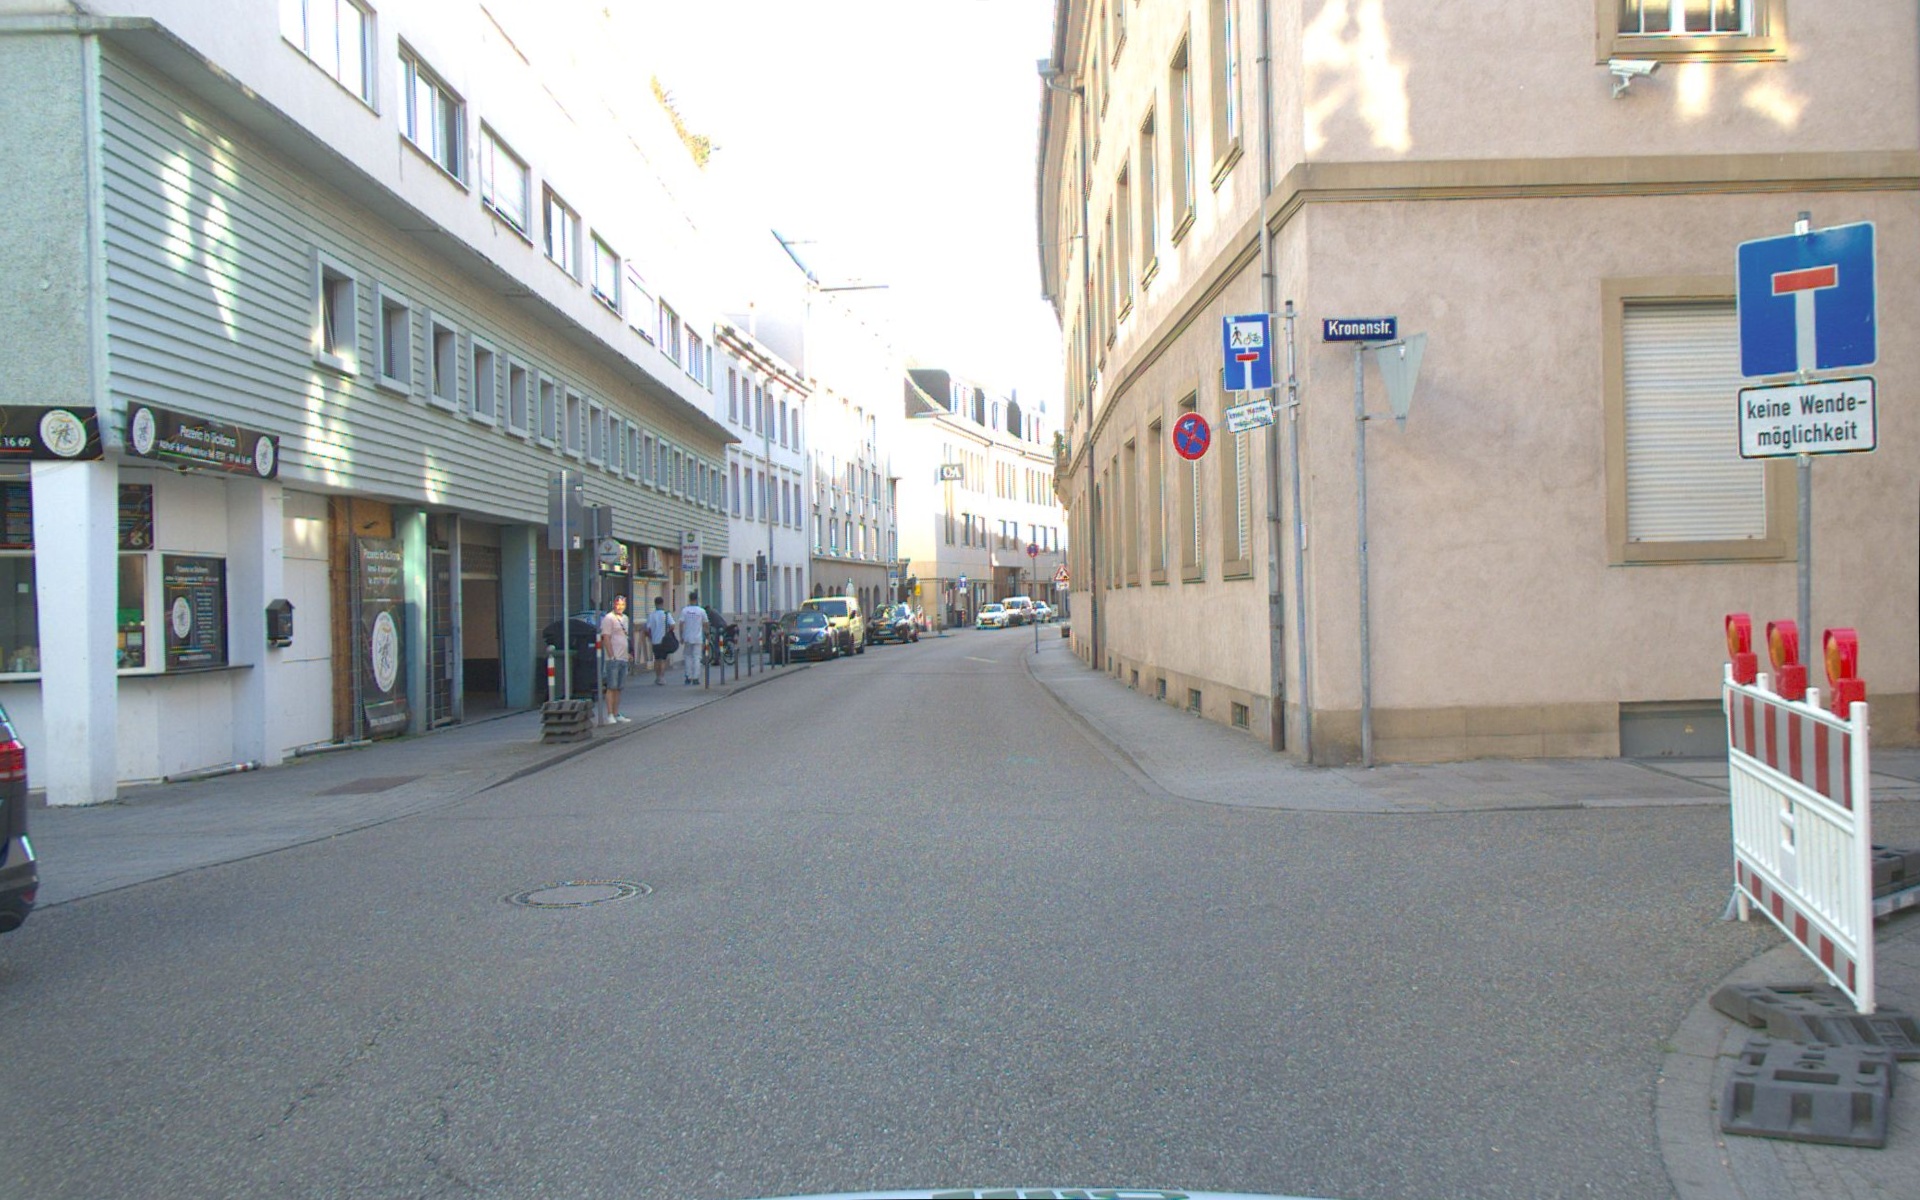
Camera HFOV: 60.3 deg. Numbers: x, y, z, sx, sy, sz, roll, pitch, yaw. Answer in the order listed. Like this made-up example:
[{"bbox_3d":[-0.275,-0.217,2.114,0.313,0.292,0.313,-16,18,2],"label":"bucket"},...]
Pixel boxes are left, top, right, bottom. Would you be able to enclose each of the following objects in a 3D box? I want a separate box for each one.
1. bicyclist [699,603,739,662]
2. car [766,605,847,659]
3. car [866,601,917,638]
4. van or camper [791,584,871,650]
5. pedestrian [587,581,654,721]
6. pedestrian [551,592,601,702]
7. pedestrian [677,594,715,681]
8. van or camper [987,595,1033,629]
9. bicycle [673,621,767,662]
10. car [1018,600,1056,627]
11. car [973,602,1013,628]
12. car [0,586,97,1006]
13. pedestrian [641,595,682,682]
[{"bbox_3d":[-6.609,0.882,45.387,0.742,1.589,0.833,-1,0,24],"label":"bicyclist"},{"bbox_3d":[-4.494,0.914,48.966,1.826,1.494,3.835,-1,0,3],"label":"car"},{"bbox_3d":[-2.905,0.804,70.941,1.826,1.494,3.835,-1,0,3],"label":"car"},{"bbox_3d":[-4.216,0.552,54.713,1.951,2.049,4.485,-1,0,4],"label":"van or camper"},{"bbox_3d":[-4.598,0.683,22.441,0.544,1.861,0.731,-1,0,22],"label":"pedestrian"},{"bbox_3d":[-6.622,0.807,28.527,0.714,1.861,0.557,-1,0,-2],"label":"pedestrian"},{"bbox_3d":[-5.275,0.741,33.039,0.649,1.714,0.480,-1,0,-1],"label":"pedestrian"},{"bbox_3d":[3.287,0.748,107.165,1.951,2.049,5.002,-1,0,14],"label":"van or camper"},{"bbox_3d":[-6.581,1.139,45.372,2.490,1.073,0.833,-1,0,24],"label":"bicycle"},{"bbox_3d":[5.293,0.899,113.496,1.787,1.756,4.003,-1,0,15],"label":"car"},{"bbox_3d":[2.036,0.929,101.363,1.697,1.493,4.003,-1,0,12],"label":"car"},{"bbox_3d":[-5.729,0.812,6.789,3.905,1.635,1.767,-1,0,22],"label":"car"},{"bbox_3d":[-5.961,0.761,33.022,0.697,1.714,0.480,-1,0,-1],"label":"pedestrian"}]
